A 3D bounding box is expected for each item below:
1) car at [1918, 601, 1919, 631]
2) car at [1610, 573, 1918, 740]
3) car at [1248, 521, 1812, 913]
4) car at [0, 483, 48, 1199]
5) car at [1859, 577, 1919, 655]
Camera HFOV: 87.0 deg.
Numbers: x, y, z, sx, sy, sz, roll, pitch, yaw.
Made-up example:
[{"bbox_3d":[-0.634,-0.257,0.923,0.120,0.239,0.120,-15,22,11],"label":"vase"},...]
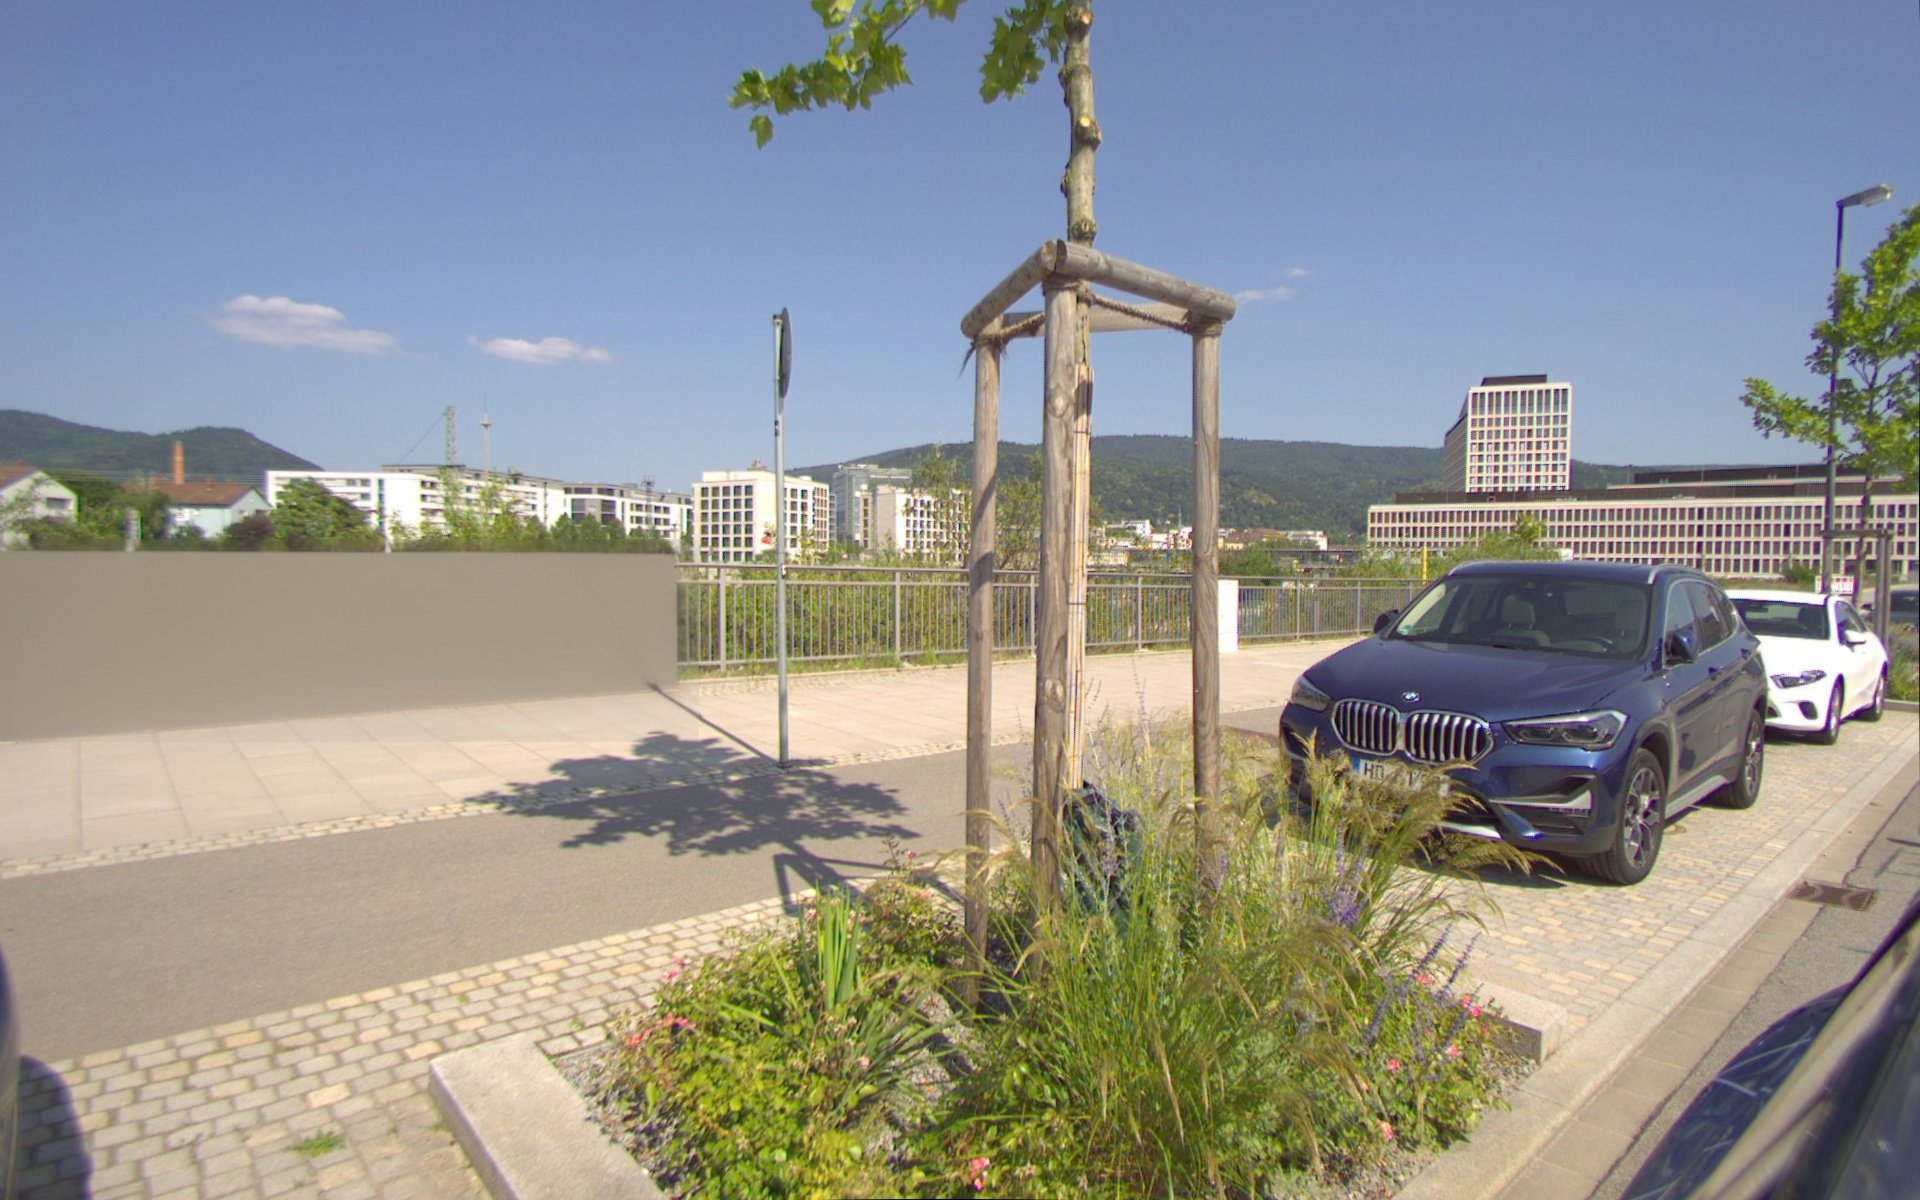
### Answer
[{"bbox_3d":[27.619,0.131,27.806,2.955,1.491,1.569,-1,5,-41],"label":"car"},{"bbox_3d":[8.851,0.459,11.022,4.194,1.390,1.711,-1,5,-39],"label":"car"},{"bbox_3d":[3.823,0.421,6.456,4.197,1.703,1.807,-1,4,-41],"label":"car"},{"bbox_3d":[-2.821,0.610,0.490,3.485,1.574,1.585,0,4,-41],"label":"car"},{"bbox_3d":[20.202,0.306,20.999,3.849,1.449,1.808,-1,5,-41],"label":"car"}]
